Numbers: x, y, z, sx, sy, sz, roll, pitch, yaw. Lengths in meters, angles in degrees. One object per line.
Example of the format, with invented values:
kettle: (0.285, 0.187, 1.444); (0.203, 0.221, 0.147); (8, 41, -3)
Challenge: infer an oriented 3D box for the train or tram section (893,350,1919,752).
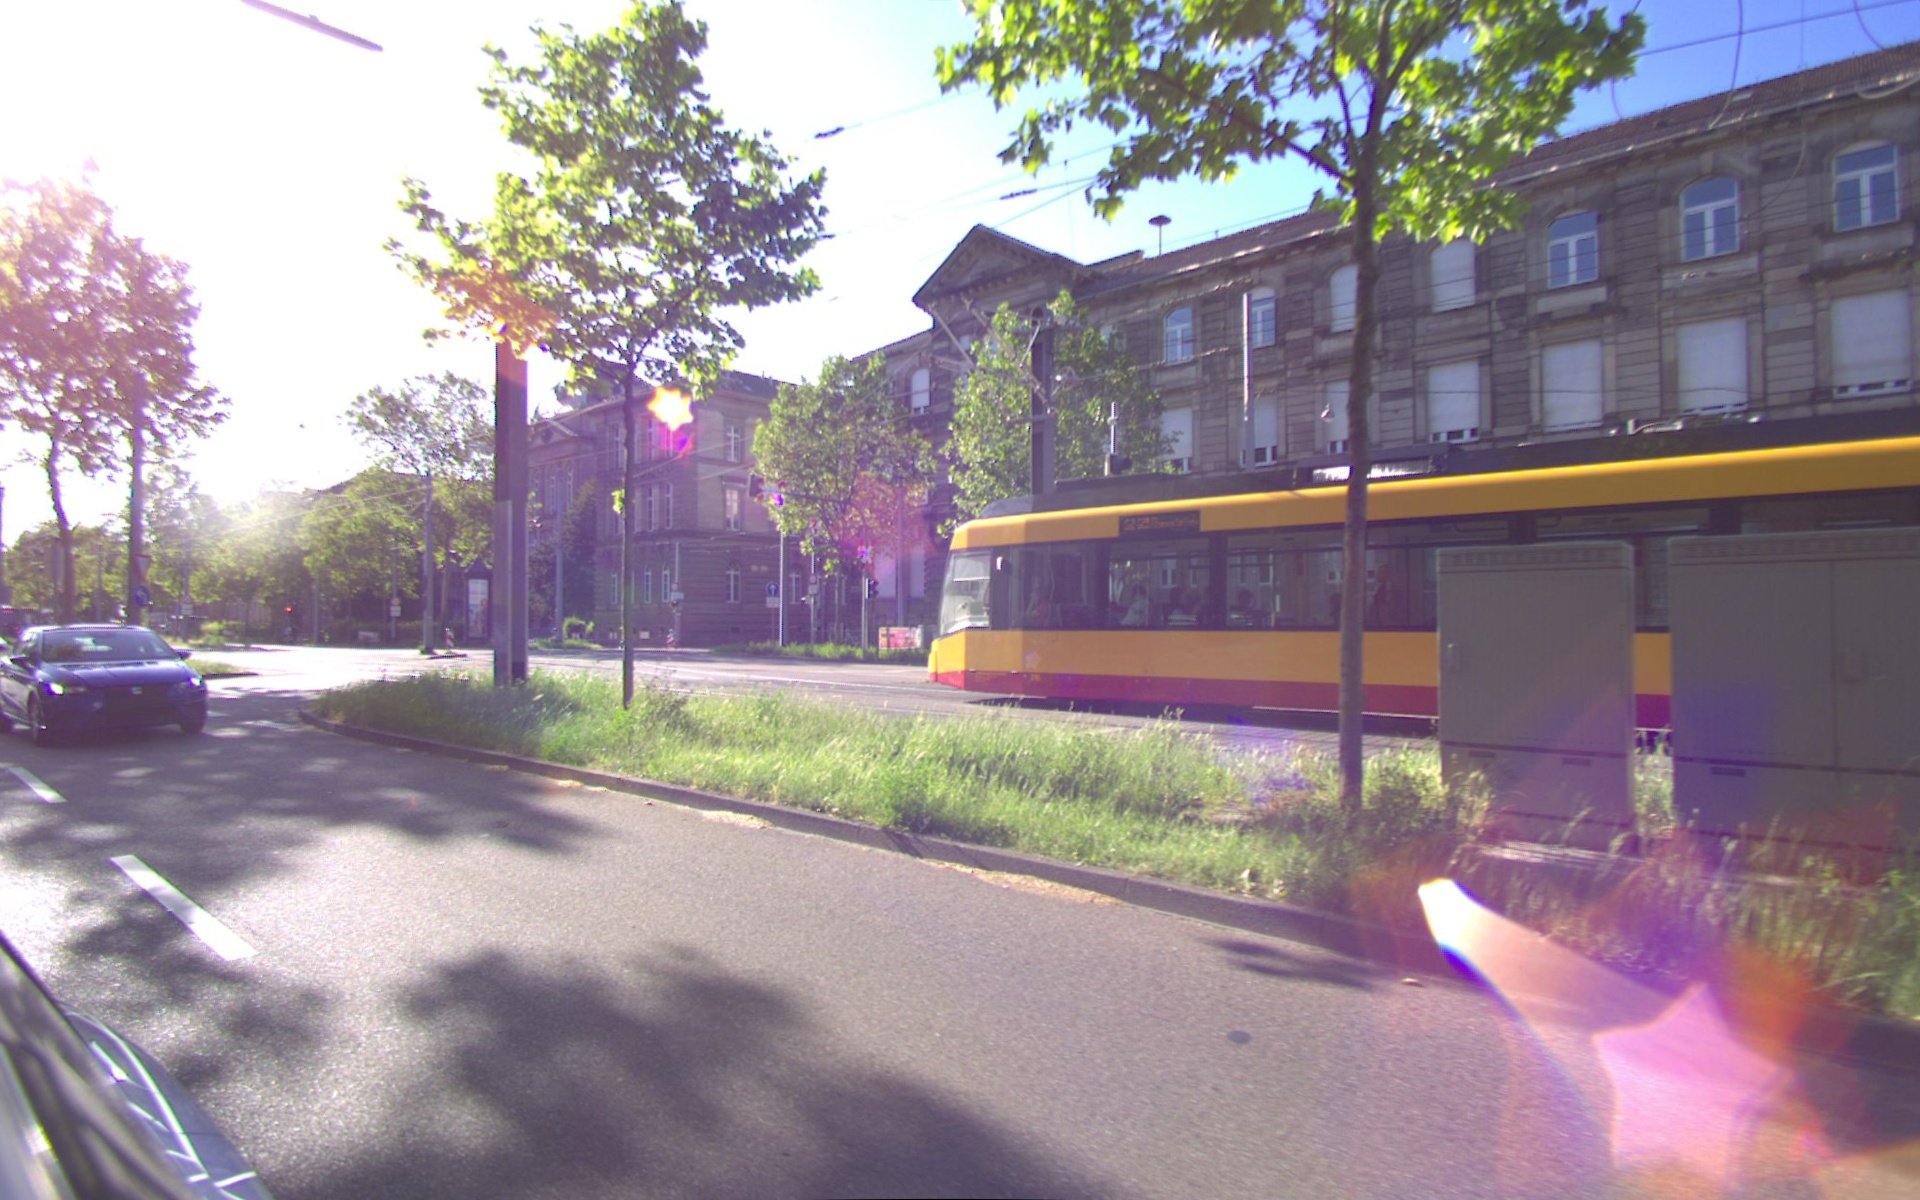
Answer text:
train or tram section: (7.952, -0.396, 11.131); (21.200, 3.510, 2.934); (-2, -1, 40)

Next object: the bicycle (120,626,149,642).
bicycle: (-57.823, 2.349, 70.885); (0.538, 1.049, 1.658); (-1, 0, 10)

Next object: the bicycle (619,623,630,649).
bicycle: (-19.414, 2.074, 58.542); (0.517, 1.400, 2.358); (-1, 0, -19)

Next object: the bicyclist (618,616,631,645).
bicyclist: (-19.382, 1.778, 58.497); (0.664, 1.636, 0.874); (-1, -1, -21)

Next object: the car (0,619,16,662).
car: (-38.193, 1.571, 38.483); (3.830, 1.607, 1.658); (-1, 0, 17)

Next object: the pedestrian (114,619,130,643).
pedestrian: (-60.876, 2.256, 73.517); (0.692, 1.689, 0.592); (-1, -1, 9)

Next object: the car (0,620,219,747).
car: (-11.592, 1.018, 13.534); (3.864, 1.459, 1.756); (-2, -2, 39)

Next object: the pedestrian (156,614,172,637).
pedestrian: (-57.601, 1.809, 73.225); (0.692, 1.633, 0.592); (-1, 0, 9)

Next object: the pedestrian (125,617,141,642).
pedestrian: (-60.055, 2.125, 73.470); (0.692, 1.749, 0.592); (-1, 0, 9)

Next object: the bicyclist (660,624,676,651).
bicyclist: (-16.876, 2.170, 58.504); (0.783, 1.473, 0.732); (-1, 0, -21)

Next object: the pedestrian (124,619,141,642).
pedestrian: (-59.270, 2.178, 72.497); (0.691, 1.656, 0.593); (-1, 0, 6)

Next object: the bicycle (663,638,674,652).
bicycle: (-16.785, 2.559, 58.256); (0.517, 0.727, 1.907); (-1, 0, -20)

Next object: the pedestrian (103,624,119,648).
pedestrian: (-62.176, 2.637, 74.102); (0.692, 1.758, 0.592); (-1, 0, 9)

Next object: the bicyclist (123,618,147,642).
bicyclist: (-57.784, 2.081, 70.900); (0.826, 1.656, 0.966); (-1, 0, 9)

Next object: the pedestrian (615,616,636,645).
pedestrian: (-21.194, 1.932, 64.057); (1.002, 1.814, 0.853); (-1, 0, 43)
